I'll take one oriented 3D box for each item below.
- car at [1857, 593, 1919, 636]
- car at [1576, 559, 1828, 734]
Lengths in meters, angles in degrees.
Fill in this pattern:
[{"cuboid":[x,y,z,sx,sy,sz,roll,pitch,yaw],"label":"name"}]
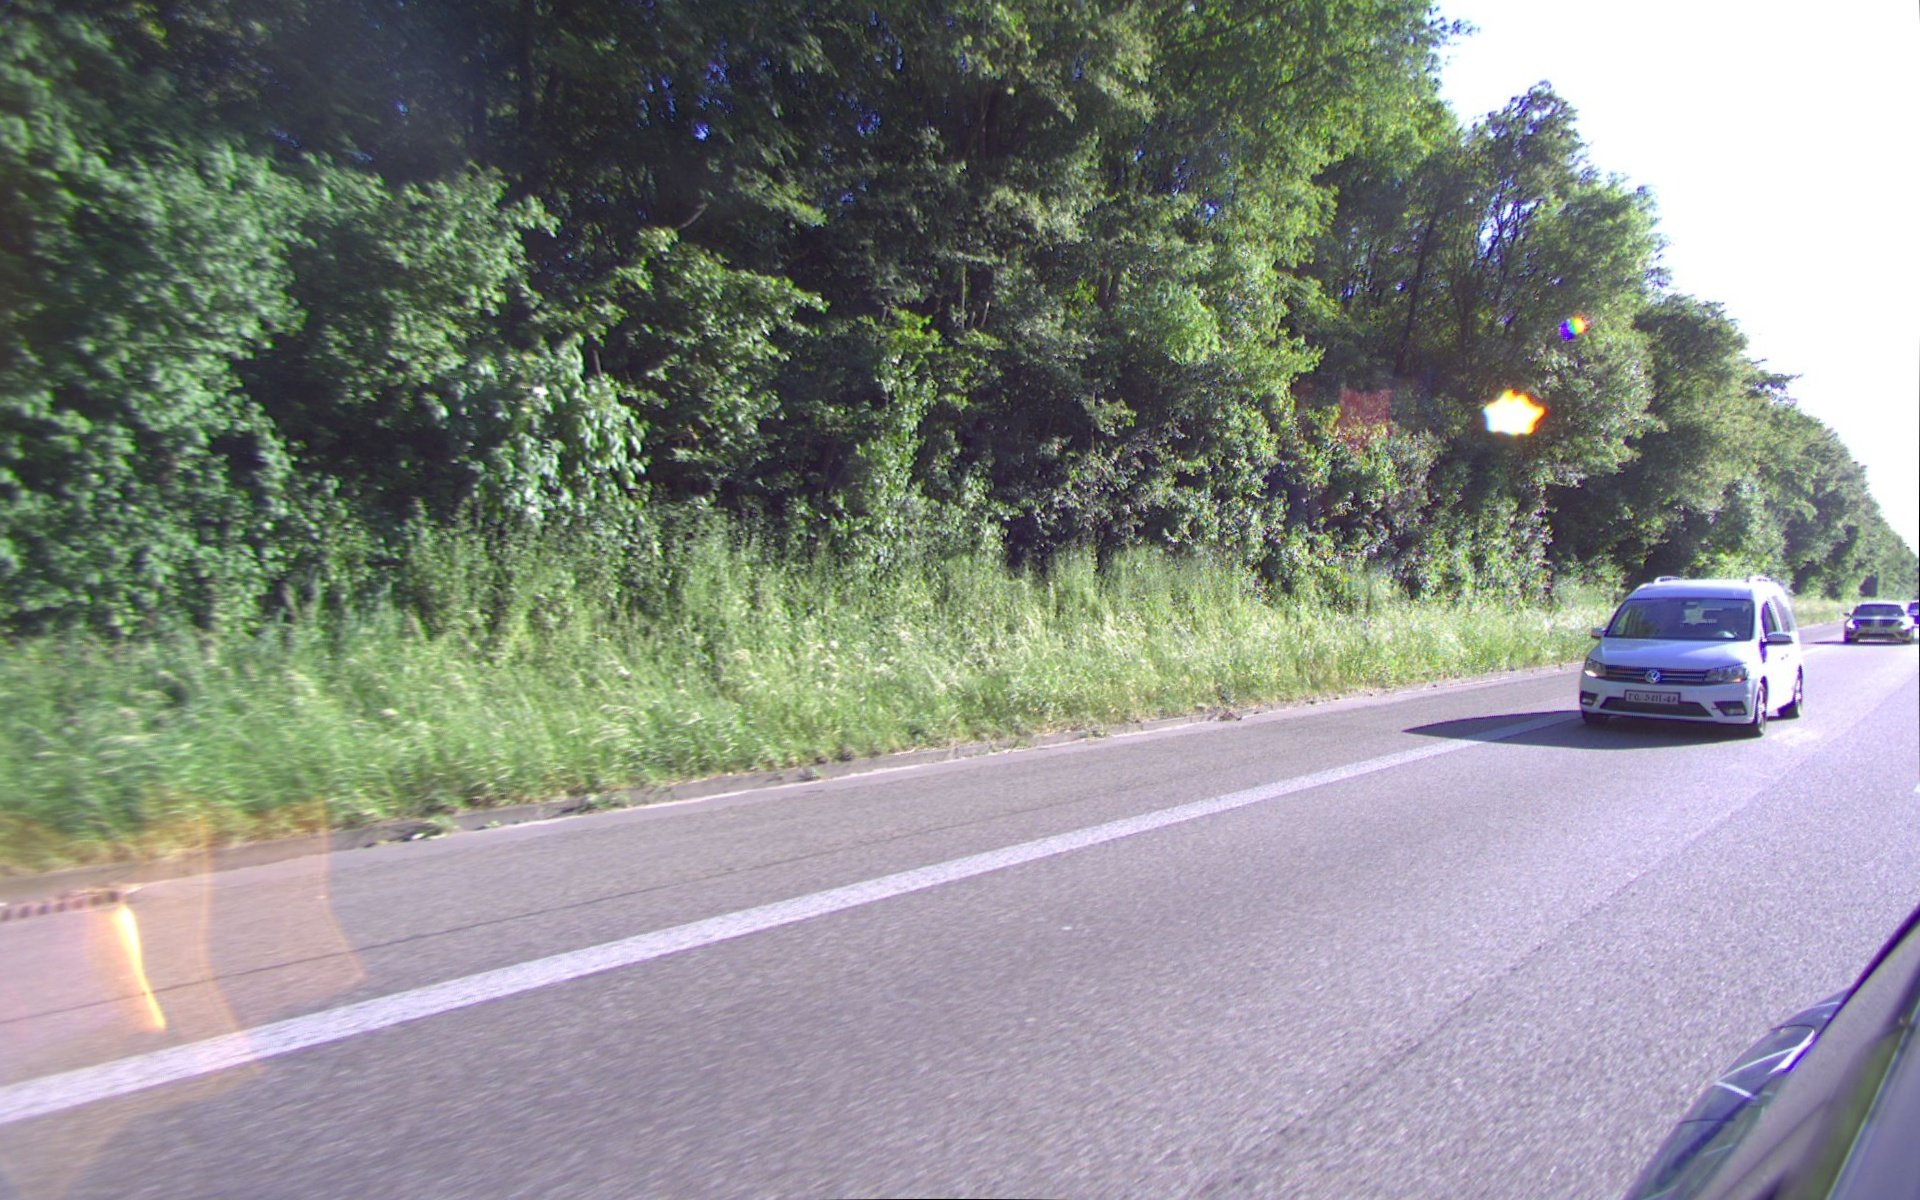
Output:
[{"cuboid":[33.556,0.483,36.412,1.790,1.467,3.816,0,0,44],"label":"car"},{"cuboid":[9.542,0.458,12.869,4.511,1.835,1.801,-1,1,-43],"label":"car"}]
